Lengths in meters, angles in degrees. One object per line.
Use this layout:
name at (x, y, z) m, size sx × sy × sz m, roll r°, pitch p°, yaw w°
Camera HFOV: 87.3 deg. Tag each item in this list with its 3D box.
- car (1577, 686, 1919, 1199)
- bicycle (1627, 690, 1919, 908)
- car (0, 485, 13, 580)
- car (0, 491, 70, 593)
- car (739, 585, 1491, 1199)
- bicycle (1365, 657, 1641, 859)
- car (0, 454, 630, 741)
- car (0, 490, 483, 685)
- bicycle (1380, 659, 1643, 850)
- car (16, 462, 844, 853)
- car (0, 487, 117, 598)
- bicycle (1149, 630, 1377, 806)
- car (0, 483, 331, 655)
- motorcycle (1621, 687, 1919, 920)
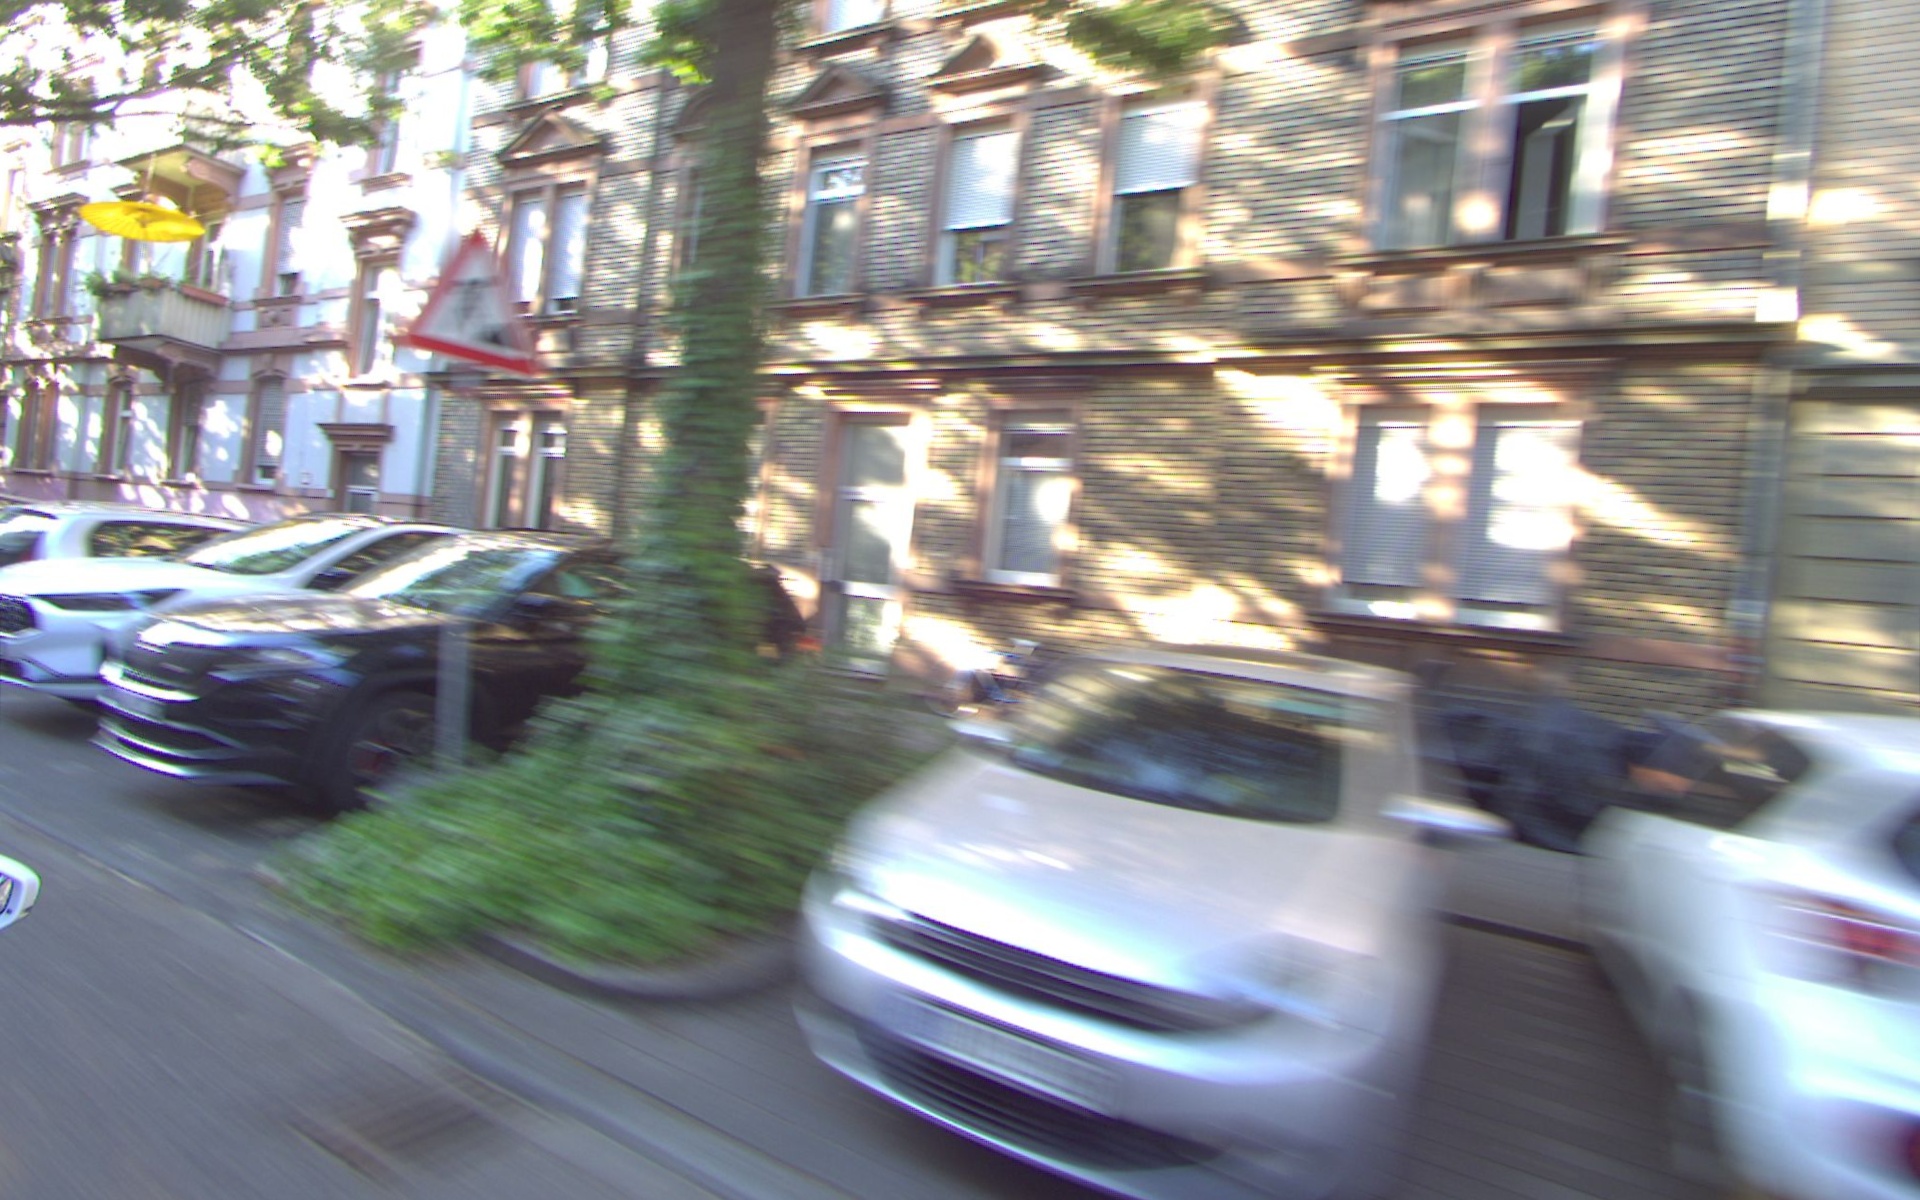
car at (3.600, 1.202, 3.773) m, size 1.657 × 1.513 × 3.997 m, roll 7°, pitch -1°, yaw 26°
bicycle at (6.410, 1.497, 7.851) m, size 1.851 × 1.335 × 0.368 m, roll 7°, pitch 0°, yaw 28°
car at (-17.869, -1.352, 15.740) m, size 1.751 × 1.609 × 3.997 m, roll 7°, pitch 0°, yaw 26°
car at (-15.711, -1.063, 14.404) m, size 1.751 × 1.480 × 3.997 m, roll 7°, pitch 0°, yaw 26°
car at (1.139, 0.929, 4.202) m, size 1.658 × 1.474 × 3.994 m, roll 7°, pitch -1°, yaw 30°
bicycle at (4.459, 1.259, 8.379) m, size 1.851 × 1.335 × 0.375 m, roll 7°, pitch 0°, yaw 28°
car at (-5.165, 0.086, 8.312) m, size 1.859 × 1.675 × 4.486 m, roll 5°, pitch -2°, yaw 28°
car at (-7.238, -0.041, 10.015) m, size 1.771 × 1.487 × 4.108 m, roll 7°, pitch -1°, yaw 30°
bicycle at (4.768, 1.301, 8.819) m, size 1.851 × 1.335 × 0.368 m, roll 7°, pitch 0°, yaw 28°
car at (-2.945, 0.358, 6.722) m, size 1.860 × 1.675 × 4.483 m, roll 5°, pitch -2°, yaw 31°
car at (-13.565, -0.853, 12.796) m, size 1.649 × 1.406 × 3.990 m, roll 7°, pitch 2°, yaw 28°
bicycle at (2.833, 1.066, 9.470) m, size 1.851 × 1.335 × 0.535 m, roll 7°, pitch 0°, yaw 28°
car at (-9.453, -0.357, 10.750) m, size 1.769 × 1.554 × 4.233 m, roll 7°, pitch -1°, yaw 26°
motorcycle at (6.075, 1.435, 7.374) m, size 1.851 × 1.335 × 0.764 m, roll 7°, pitch 0°, yaw 28°
